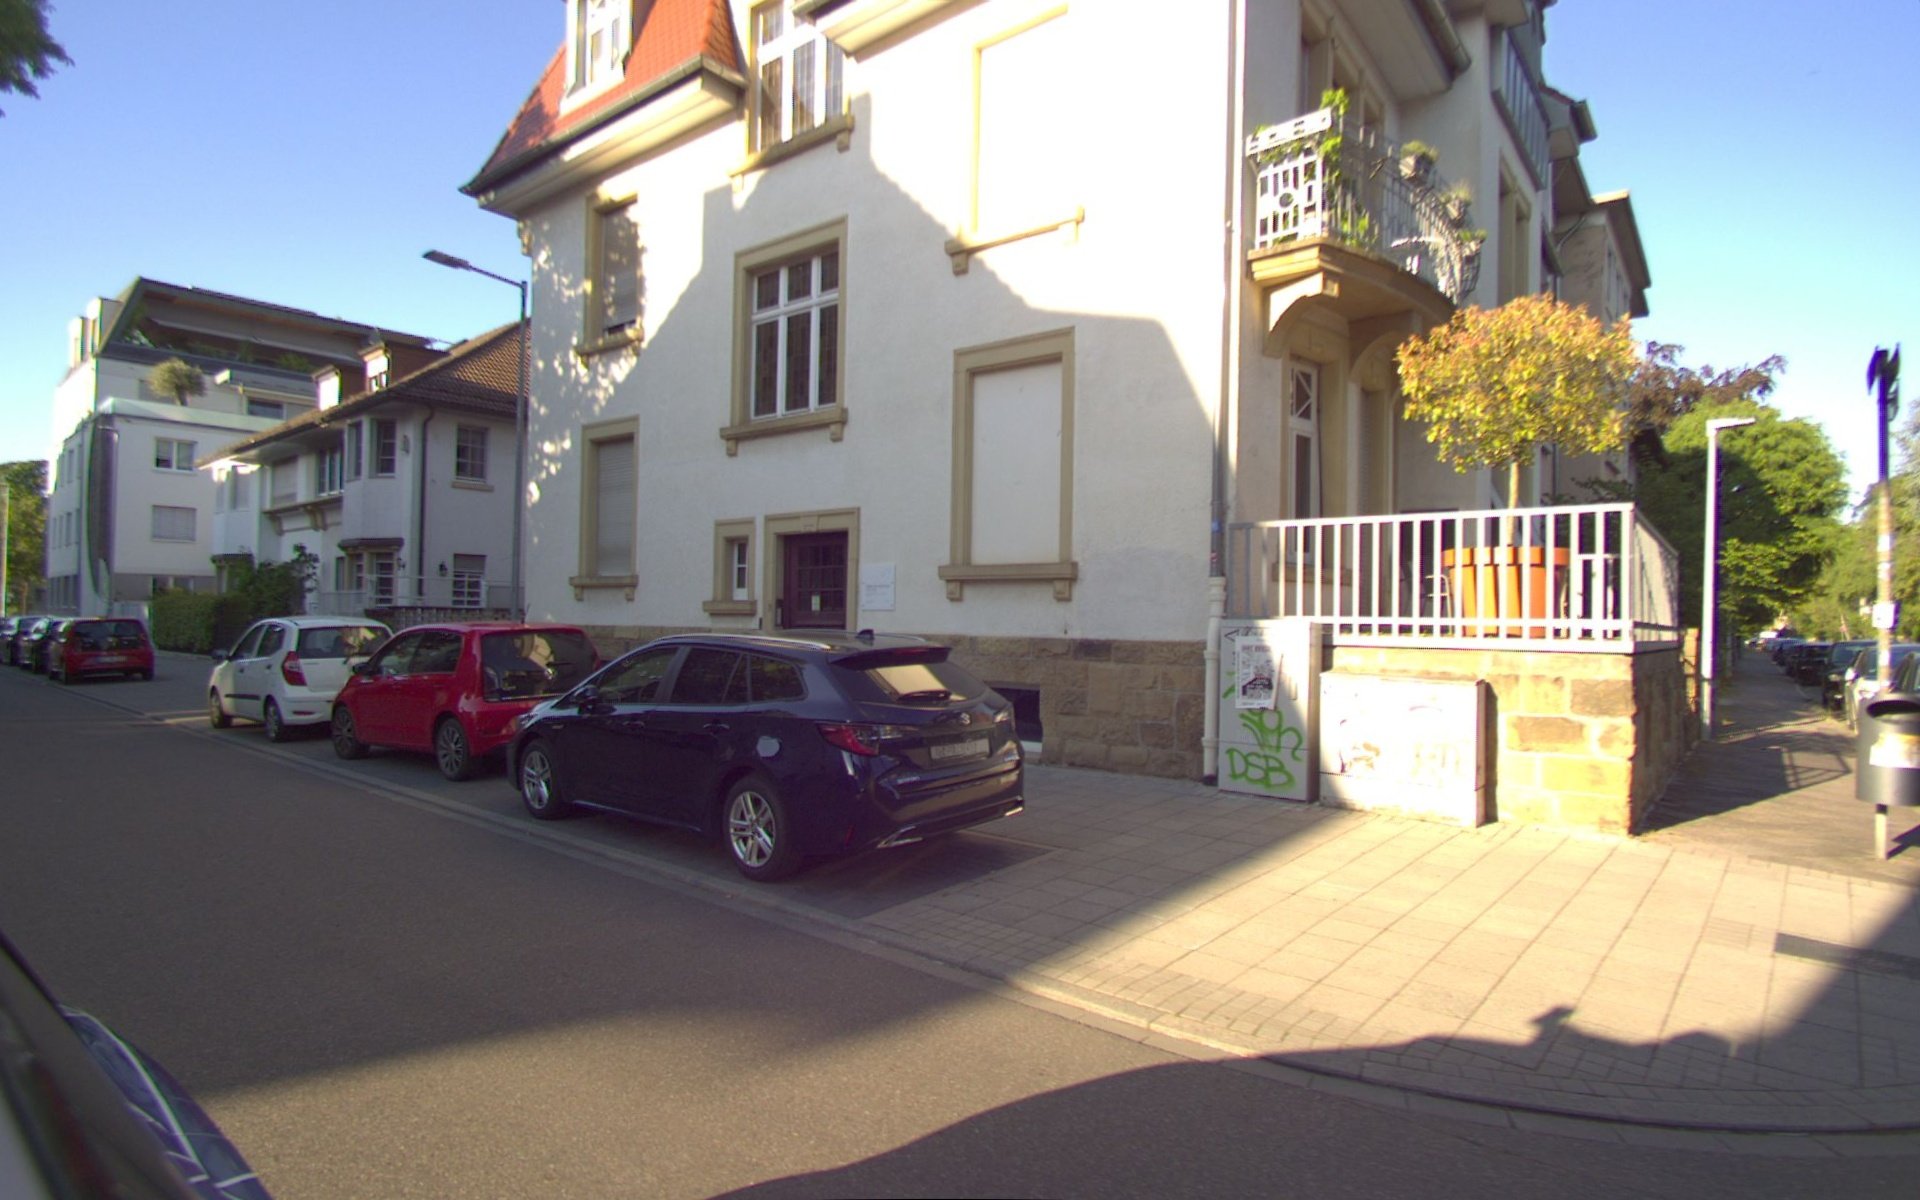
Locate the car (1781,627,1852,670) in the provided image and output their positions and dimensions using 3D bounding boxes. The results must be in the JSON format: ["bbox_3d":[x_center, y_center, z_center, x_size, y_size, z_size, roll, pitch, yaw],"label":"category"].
[{"bbox_3d":[30.333,1.684,35.913,1.680,1.441,3.908,-2,-3,37],"label":"car"}]

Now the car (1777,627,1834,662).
[{"bbox_3d":[36.539,1.882,43.796,1.680,1.441,3.908,-2,-3,37],"label":"car"}]

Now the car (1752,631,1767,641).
[{"bbox_3d":[123.088,5.565,155.786,1.680,1.441,3.908,-2,-3,37],"label":"car"}]

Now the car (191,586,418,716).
[{"bbox_3d":[-8.975,0.611,13.757,3.703,1.532,1.565,0,0,40],"label":"car"}]

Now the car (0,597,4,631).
[{"bbox_3d":[-41.121,0.607,42.073,3.907,1.405,1.700,-1,0,43],"label":"car"}]

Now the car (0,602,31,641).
[{"bbox_3d":[-36.959,0.822,38.766,3.907,1.405,1.700,-1,0,43],"label":"car"}]

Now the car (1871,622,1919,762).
[{"bbox_3d":[12.674,1.046,12.453,1.759,1.571,4.433,-2,-3,37],"label":"car"}]

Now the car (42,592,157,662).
[{"bbox_3d":[-20.028,0.584,23.516,3.429,1.494,1.633,0,0,43],"label":"car"}]

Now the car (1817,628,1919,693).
[{"bbox_3d":[22.062,1.410,24.553,1.680,1.441,3.908,-2,-3,37],"label":"car"}]

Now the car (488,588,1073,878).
[{"bbox_3d":[-1.553,0.685,7.280,4.629,1.465,1.636,0,0,41],"label":"car"}]

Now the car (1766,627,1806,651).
[{"bbox_3d":[49.490,2.327,60.677,1.680,1.441,3.908,-2,-3,37],"label":"car"}]

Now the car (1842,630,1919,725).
[{"bbox_3d":[16.084,1.223,16.941,1.680,1.441,3.908,-2,-3,37],"label":"car"}]

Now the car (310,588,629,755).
[{"bbox_3d":[-5.294,0.645,10.766,3.700,1.488,1.567,0,0,37],"label":"car"}]

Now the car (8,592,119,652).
[{"bbox_3d":[-24.158,0.551,27.222,4.376,1.470,1.720,0,0,41],"label":"car"}]

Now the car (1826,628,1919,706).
[{"bbox_3d":[19.023,1.314,20.737,1.680,1.441,3.908,-2,-3,37],"label":"car"}]

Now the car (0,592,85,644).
[{"bbox_3d":[-28.617,0.524,31.180,4.559,1.470,1.721,0,0,39],"label":"car"}]
